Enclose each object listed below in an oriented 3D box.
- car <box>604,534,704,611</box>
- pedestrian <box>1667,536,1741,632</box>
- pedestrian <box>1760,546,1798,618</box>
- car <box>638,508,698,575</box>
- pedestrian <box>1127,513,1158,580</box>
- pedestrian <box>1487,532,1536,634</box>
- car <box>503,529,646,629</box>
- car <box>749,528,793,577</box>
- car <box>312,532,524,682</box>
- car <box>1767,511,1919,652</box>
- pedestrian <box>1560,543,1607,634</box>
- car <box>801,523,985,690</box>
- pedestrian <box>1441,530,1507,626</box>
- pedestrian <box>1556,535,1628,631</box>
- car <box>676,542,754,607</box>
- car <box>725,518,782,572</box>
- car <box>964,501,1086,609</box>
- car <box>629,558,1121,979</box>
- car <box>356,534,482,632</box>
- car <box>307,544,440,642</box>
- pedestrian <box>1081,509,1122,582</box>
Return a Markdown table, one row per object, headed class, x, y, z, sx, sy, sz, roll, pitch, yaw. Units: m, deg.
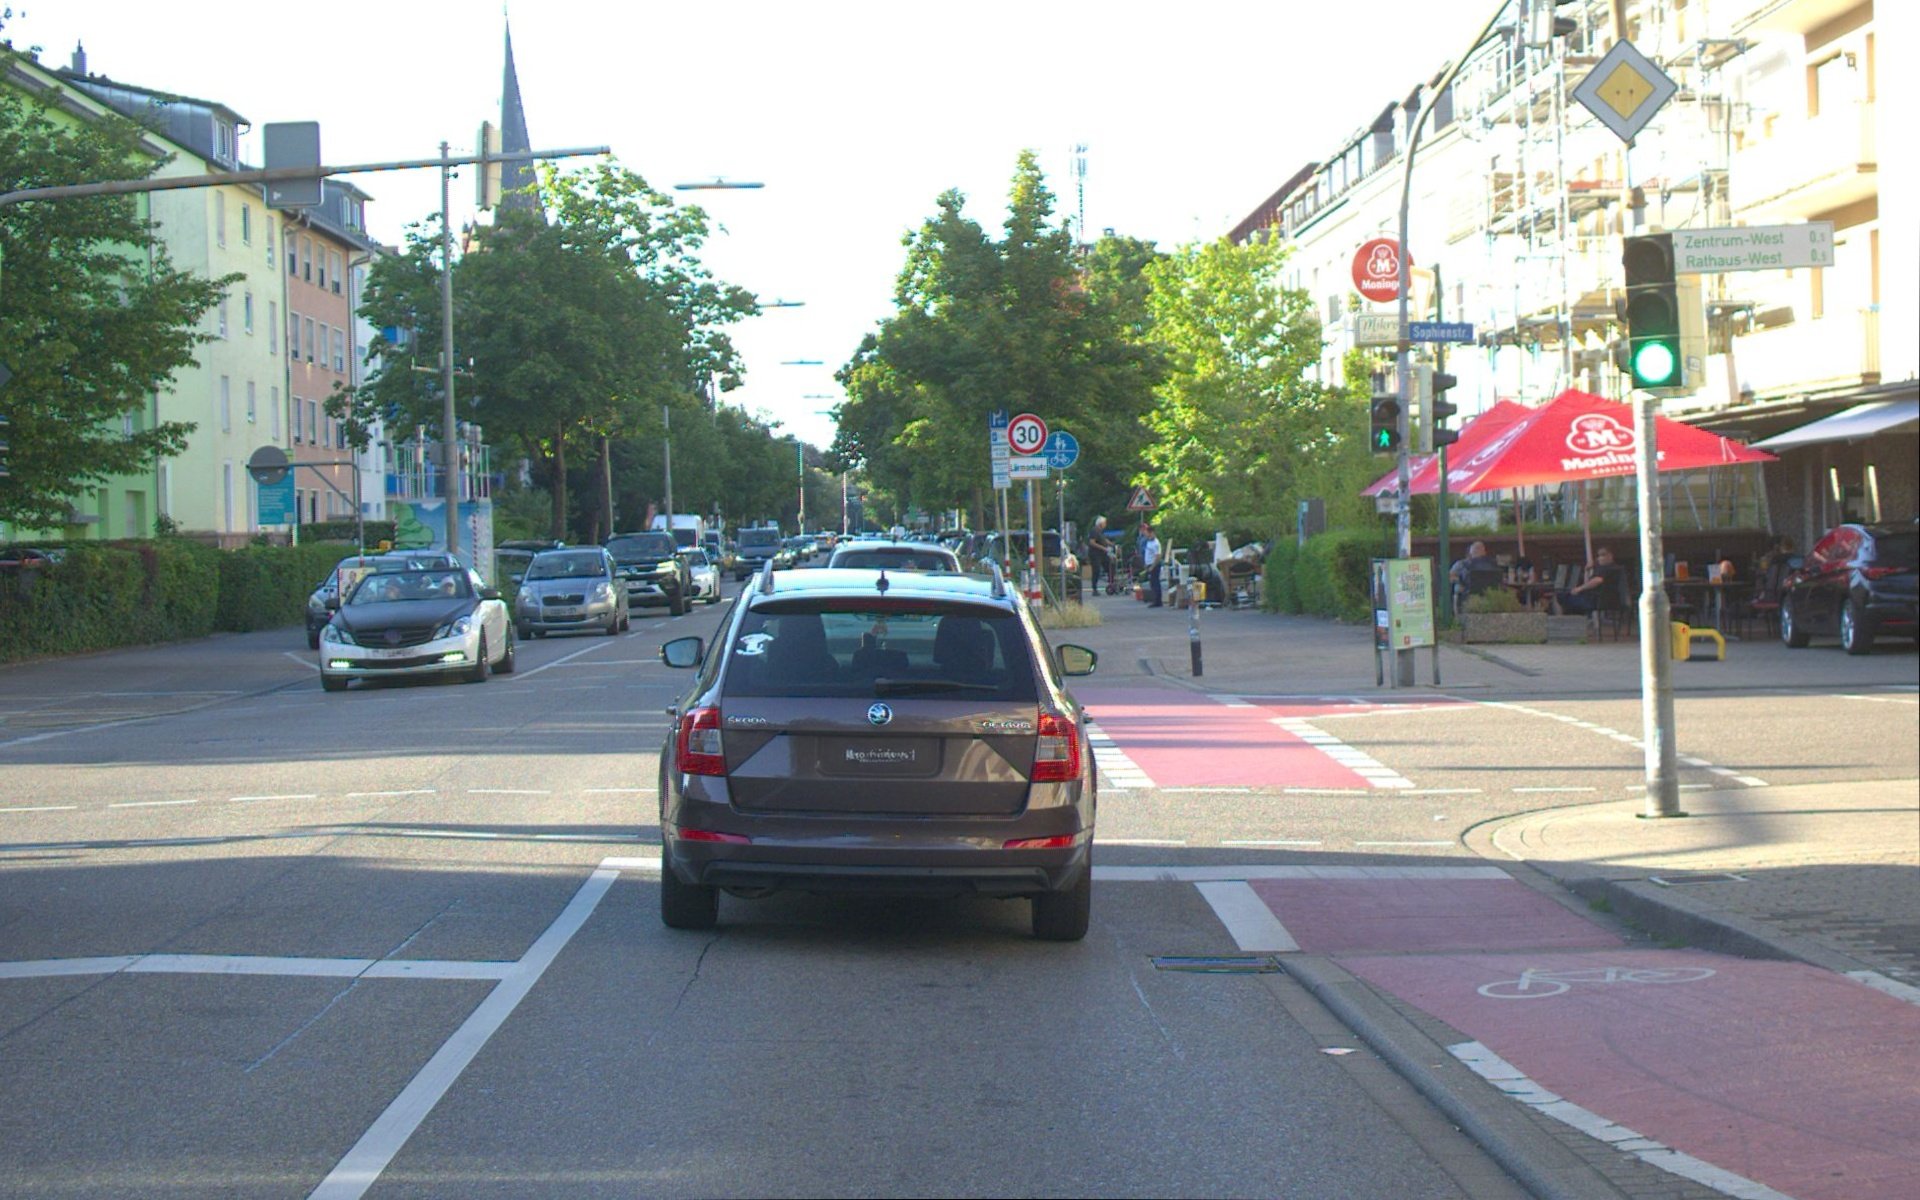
| class | x | y | z | sx | sy | sz | roll | pitch | yaw |
| --- | --- | --- | --- | --- | --- | --- | --- | --- | --- |
| car | -6.435 | -0.600 | 72.610 | 1.787 | 1.565 | 4.000 | 1 | 1 | -1 |
| pedestrian | 9.503 | -0.211 | 43.925 | 0.729 | 1.194 | 0.855 | -1 | 1 | -1 |
| pedestrian | 11.465 | -0.255 | 48.127 | 0.372 | 0.992 | 0.522 | -1 | 1 | -1 |
| car | -11.108 | -2.230 | 130.868 | 1.993 | 2.469 | 4.000 | -1 | 1 | -1 |
| pedestrian | 4.300 | -1.263 | 80.908 | 0.578 | 1.557 | 0.520 | -1 | 1 | -10 |
| pedestrian | 7.138 | -0.225 | 44.536 | 0.499 | 1.298 | 0.507 | -1 | 1 | -4 |
| car | -6.516 | -0.381 | 58.501 | 1.993 | 1.605 | 4.000 | -1 | 1 | 0 |
| car | -9.220 | -2.311 | 168.038 | 1.993 | 2.319 | 4.000 | -1 | 1 | -1 |
| car | -6.149 | 0.039 | 39.416 | 1.830 | 1.574 | 4.000 | -2 | 1 | -1 |
| car | 10.438 | -0.243 | 38.566 | 1.776 | 1.481 | 4.000 | -1 | 1 | 0 |
| pedestrian | 8.132 | -0.154 | 44.824 | 0.505 | 1.172 | 0.428 | -1 | 1 | -1 |
| car | -0.654 | 0.023 | 34.647 | 1.737 | 1.565 | 4.000 | 1 | 1 | -1 |
| pedestrian | 6.505 | -0.281 | 43.520 | 0.677 | 1.194 | 0.855 | -1 | 1 | -1 |
| pedestrian | 8.046 | -0.228 | 43.772 | 0.729 | 1.194 | 0.855 | -1 | 1 | -1 |
| car | -6.147 | -0.669 | 86.493 | 1.704 | 1.545 | 4.002 | -1 | 1 | -1 |
| car | -7.948 | -2.119 | 132.546 | 1.993 | 2.007 | 4.000 | -1 | 1 | -1 |
| car | 1.126 | -0.779 | 58.716 | 1.993 | 1.766 | 4.000 | 1 | 1 | 2 |
| car | -0.371 | 0.582 | 14.556 | 1.773 | 1.484 | 4.311 | 0 | 1 | -2 |
| car | -9.344 | -0.322 | 59.613 | 1.560 | 1.612 | 4.000 | -1 | 1 | 0 |
| car | -9.224 | -0.138 | 54.302 | 1.522 | 1.452 | 3.585 | -1 | 1 | -1 |
| pedestrian | 3.324 | -1.279 | 80.567 | 0.675 | 1.698 | 0.800 | -1 | 1 | 25 |
